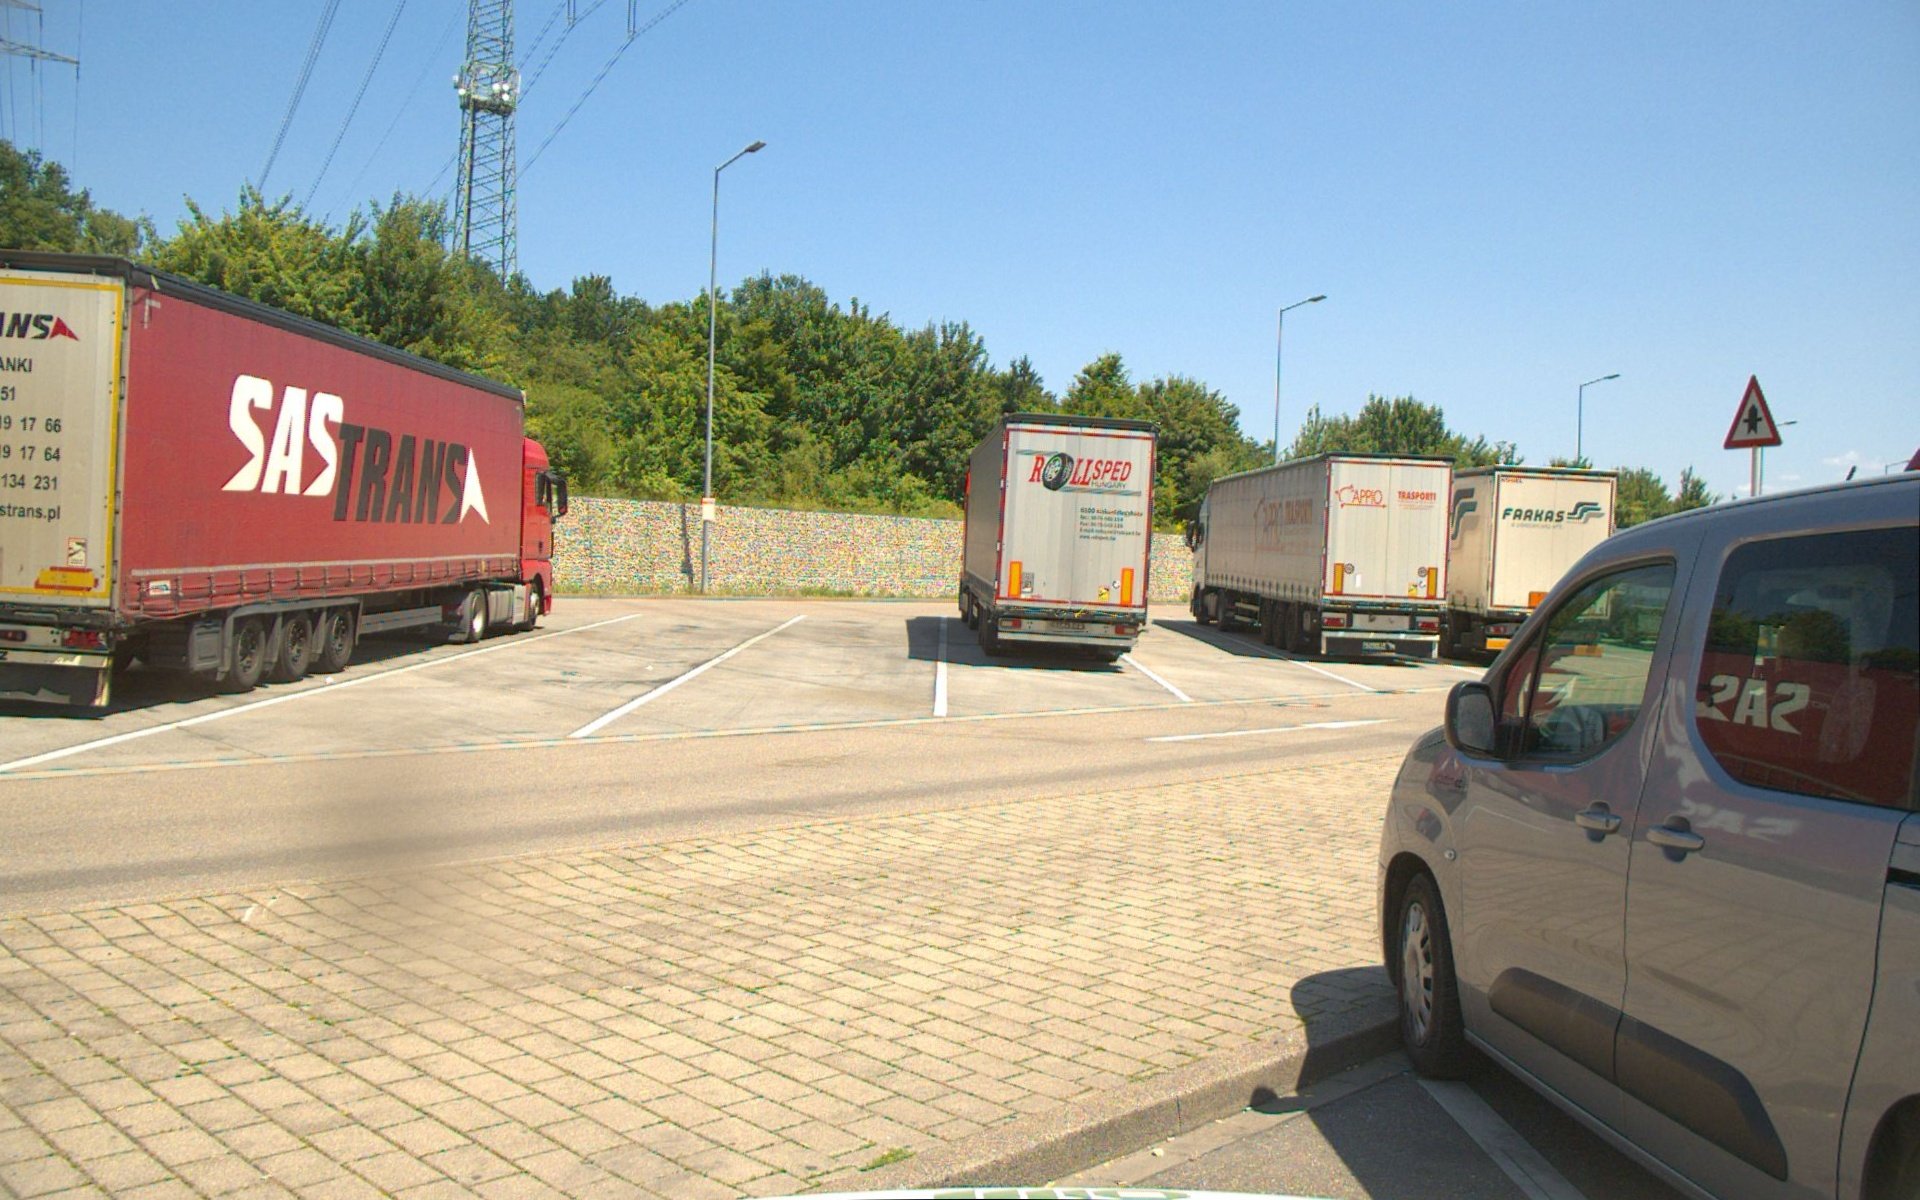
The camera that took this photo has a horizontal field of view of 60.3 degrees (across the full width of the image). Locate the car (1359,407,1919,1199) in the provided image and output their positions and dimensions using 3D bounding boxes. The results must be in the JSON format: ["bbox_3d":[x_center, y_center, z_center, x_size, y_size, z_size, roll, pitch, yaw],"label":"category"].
[{"bbox_3d":[2.435,0.557,3.826,1.790,1.784,3.997,1,1,-4],"label":"car"}]

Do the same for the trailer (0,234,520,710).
[{"bbox_3d":[-8.640,-1.260,21.046,2.694,4.128,13.284,1,1,-1],"label":"trailer"}]

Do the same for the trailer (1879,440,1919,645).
[{"bbox_3d":[24.481,-1.164,35.663,8.509,4.332,2.833,1,1,-14],"label":"trailer"}]

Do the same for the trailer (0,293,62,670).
[{"bbox_3d":[-12.408,-1.312,15.456,2.689,4.337,9.733,1,1,0],"label":"trailer"}]

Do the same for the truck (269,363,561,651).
[{"bbox_3d":[-8.775,-1.423,27.547,2.687,4.152,6.828,1,1,-1],"label":"truck"}]

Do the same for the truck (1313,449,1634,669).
[{"bbox_3d":[11.715,-0.958,40.004,2.846,4.195,14.525,3,1,-1],"label":"truck"}]

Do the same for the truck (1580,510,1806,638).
[{"bbox_3d":[21.955,-0.810,50.197,2.963,3.497,8.529,1,1,-1],"label":"truck"}]

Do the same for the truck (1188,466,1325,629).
[{"bbox_3d":[8.070,-1.413,45.619,2.701,4.196,5.283,1,1,-1],"label":"truck"}]

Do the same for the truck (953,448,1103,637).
[{"bbox_3d":[1.465,-1.382,39.454,2.965,3.997,6.845,2,2,-2],"label":"truck"}]

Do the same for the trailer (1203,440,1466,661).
[{"bbox_3d":[8.204,-1.088,38.620,2.818,4.196,13.569,1,1,-1],"label":"trailer"}]

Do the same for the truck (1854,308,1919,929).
[{"bbox_3d":[4.981,0.129,4.947,1.952,2.669,5.305,1,1,3],"label":"truck"}]

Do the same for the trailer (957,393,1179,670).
[{"bbox_3d":[1.698,-1.317,32.688,3.008,4.301,12.805,2,2,-2],"label":"trailer"}]
